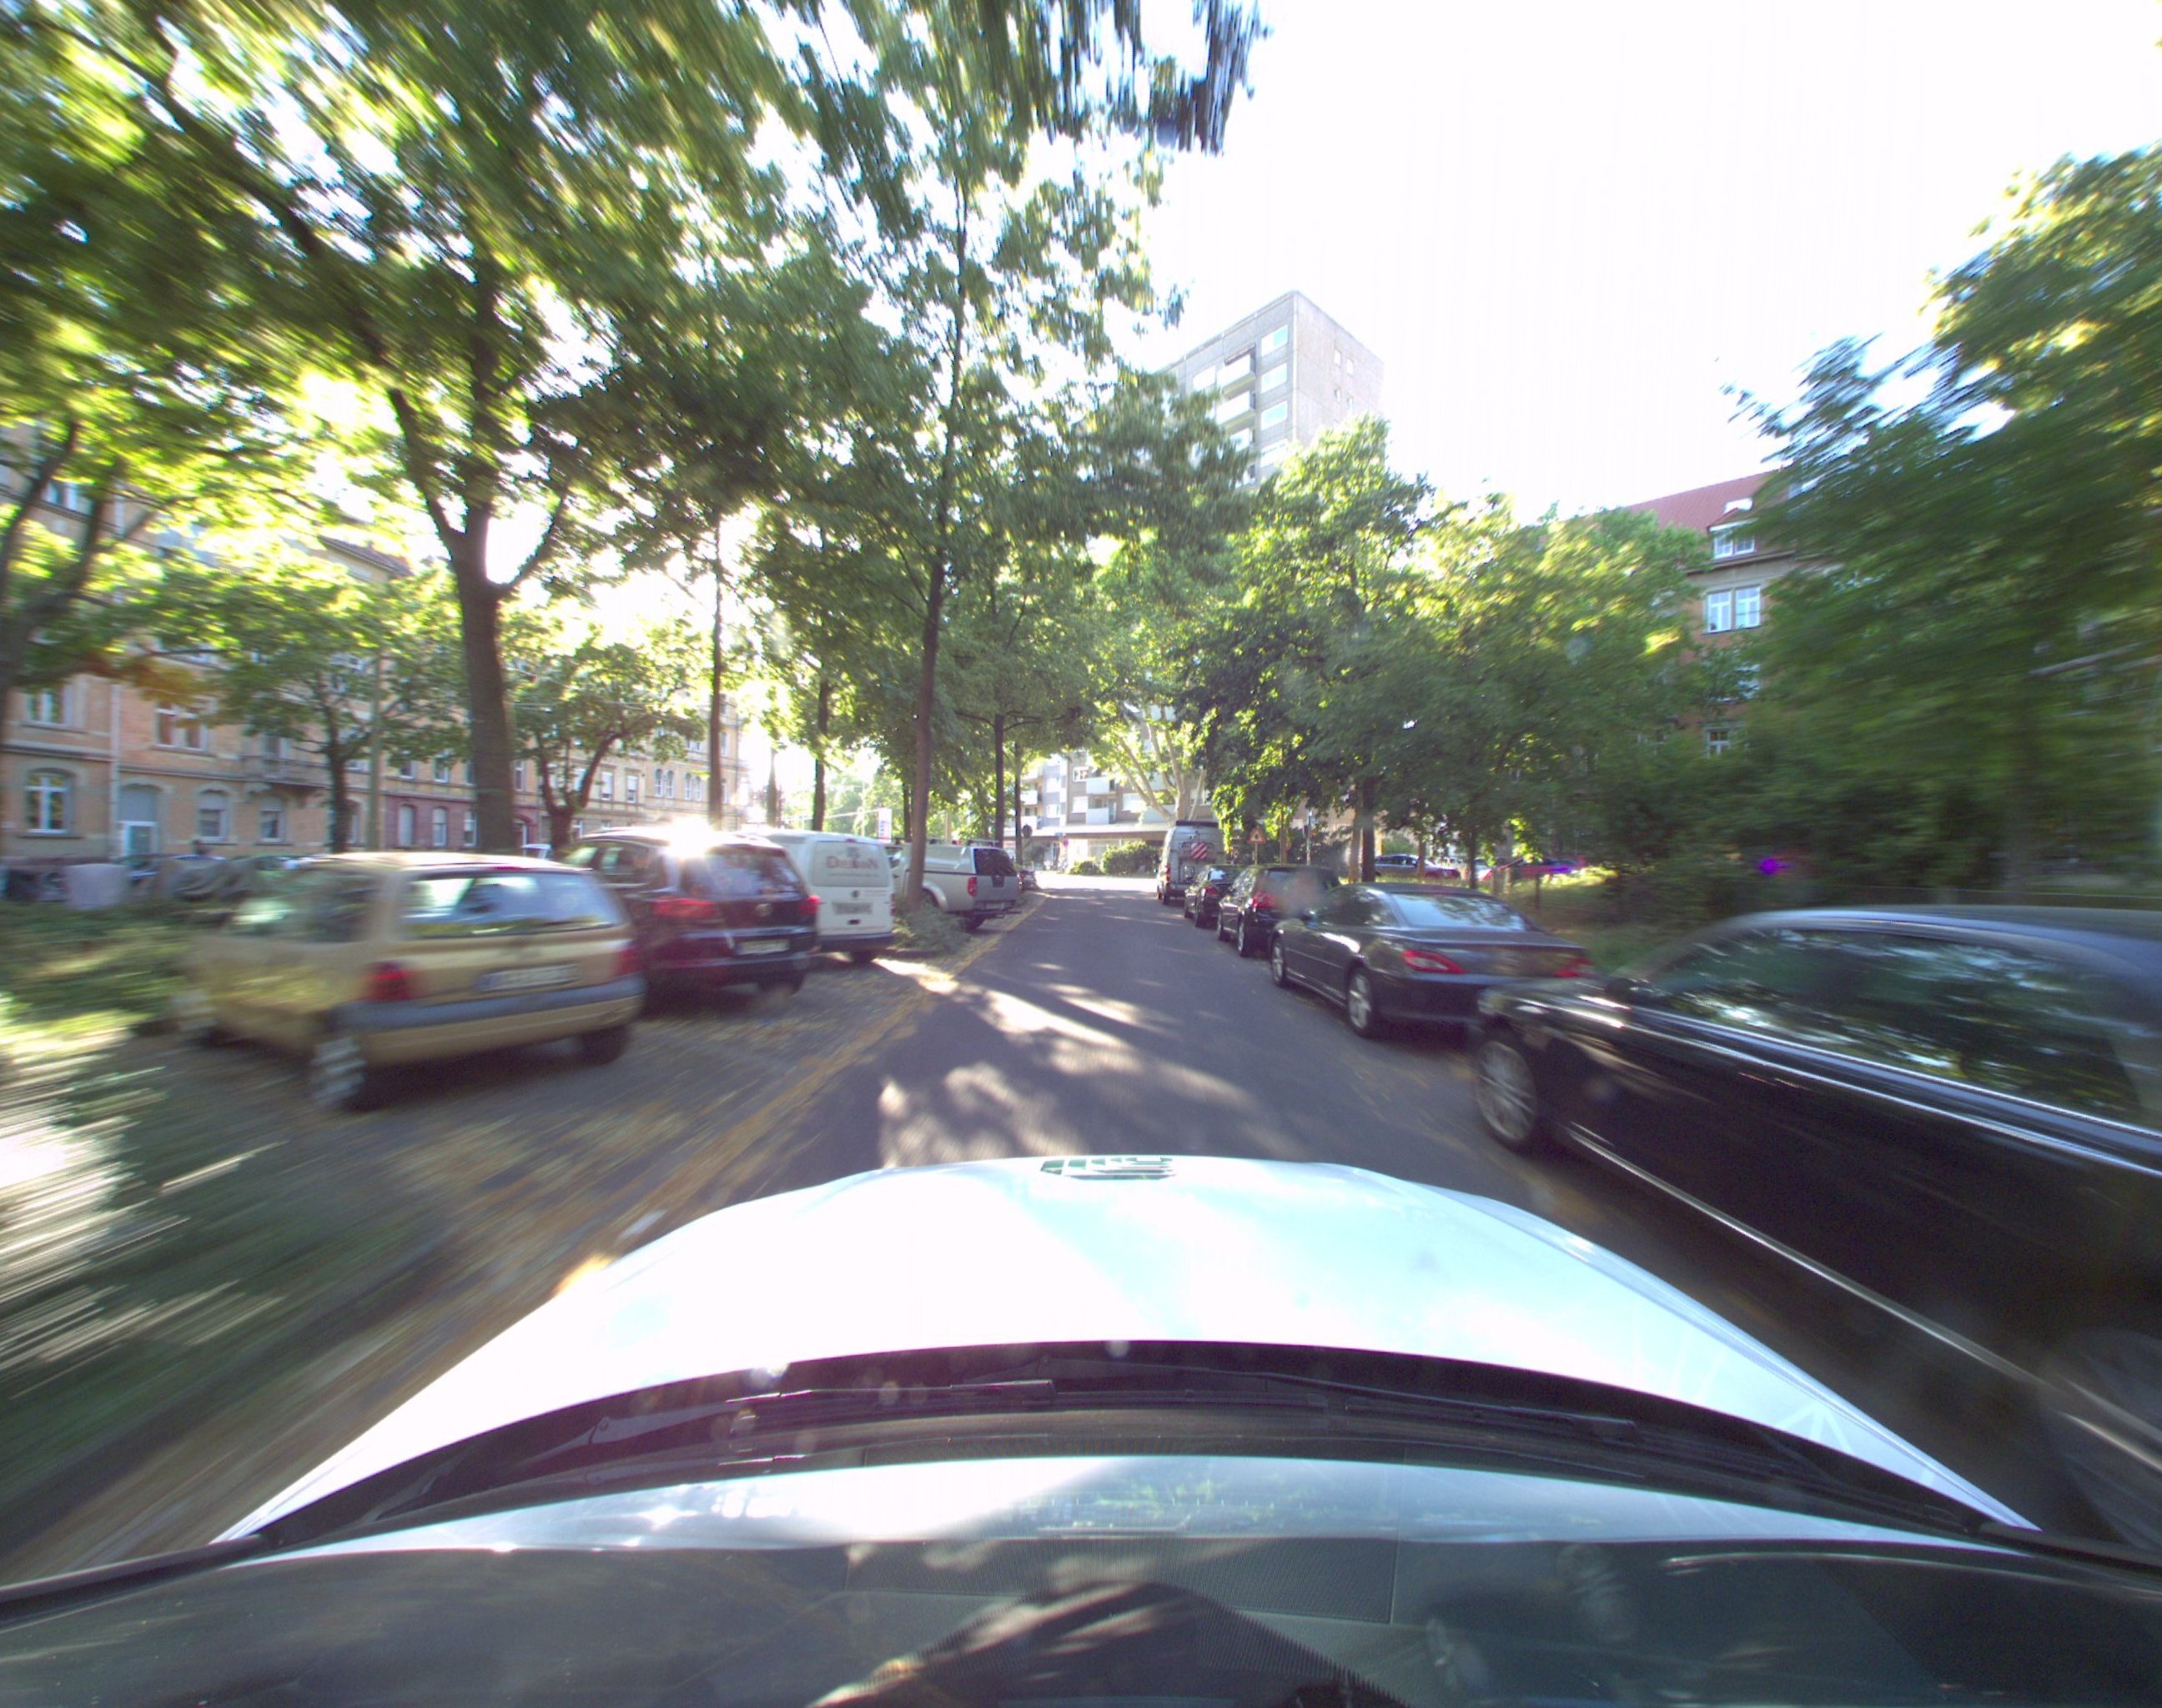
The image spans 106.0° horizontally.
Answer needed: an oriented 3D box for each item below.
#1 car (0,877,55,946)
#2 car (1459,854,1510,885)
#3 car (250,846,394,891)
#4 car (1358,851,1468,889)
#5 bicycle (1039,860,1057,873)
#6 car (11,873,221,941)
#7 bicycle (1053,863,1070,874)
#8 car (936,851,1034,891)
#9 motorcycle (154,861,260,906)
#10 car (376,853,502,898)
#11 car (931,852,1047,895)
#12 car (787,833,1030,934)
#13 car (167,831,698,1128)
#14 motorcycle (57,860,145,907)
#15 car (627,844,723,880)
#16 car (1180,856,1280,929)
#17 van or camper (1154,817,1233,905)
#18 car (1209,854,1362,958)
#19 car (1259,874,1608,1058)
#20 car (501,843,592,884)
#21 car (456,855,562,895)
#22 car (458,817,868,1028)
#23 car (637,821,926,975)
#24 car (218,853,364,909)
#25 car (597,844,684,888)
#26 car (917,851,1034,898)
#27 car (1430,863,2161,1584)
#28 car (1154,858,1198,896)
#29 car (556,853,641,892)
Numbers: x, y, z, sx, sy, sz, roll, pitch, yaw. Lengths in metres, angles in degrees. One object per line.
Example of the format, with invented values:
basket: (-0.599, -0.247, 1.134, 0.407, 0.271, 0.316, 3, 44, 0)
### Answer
car: (-29.067, 1.548, 20.344, 1.789, 1.775, 3.997, -2, 0, -2)
car: (21.772, 0.780, 43.822, 1.712, 1.473, 4.026, 0, 1, 37)
car: (-29.503, 0.517, 31.855, 1.846, 1.518, 4.057, 3, 1, -2)
car: (15.003, 0.710, 36.938, 1.752, 1.552, 4.224, 5, -4, -44)
bicycle: (-2.744, 1.046, 67.232, 0.642, 1.022, 2.070, 0, 0, -27)
car: (-29.743, 1.559, 25.321, 1.789, 1.775, 3.997, -2, 0, -2)
bicycle: (-1.584, 1.167, 65.632, 0.546, 0.904, 1.717, 0, 0, -34)
car: (-4.223, 0.722, 35.761, 3.837, 1.494, 1.842, 3, 0, 27)
motorcycle: (-19.704, 0.642, 18.369, 1.707, 0.955, 1.025, 0, 0, 20)
car: (-21.182, 0.675, 26.867, 3.693, 1.381, 1.737, 0, 0, 25)
car: (-3.678, 0.773, 32.570, 4.149, 1.439, 1.842, 3, 0, 25)
car: (-3.802, 0.567, 17.735, 4.940, 1.781, 1.999, 3, 0, 28)
car: (-4.683, 0.649, 5.853, 3.384, 1.425, 1.845, 3, 0, 31)
motorcycle: (-20.017, 0.572, 16.630, 1.952, 0.889, 1.027, 0, 0, 36)
car: (-21.307, 0.403, 42.742, 4.775, 1.764, 2.097, 0, 0, 27)
car: (3.435, 0.815, 19.550, 1.674, 1.526, 4.490, 1, 0, 1)
van or camper: (3.801, 0.221, 28.524, 2.076, 2.762, 5.846, 1, 0, 1)
car: (3.363, 0.779, 14.203, 1.674, 1.526, 4.288, 1, 0, 1)
car: (3.147, 0.906, 8.317, 1.675, 1.283, 4.286, 1, 0, -1)
car: (-29.960, 0.468, 45.849, 1.847, 2.063, 4.997, 3, 1, -2)
car: (-21.300, 0.742, 30.274, 4.234, 1.381, 1.604, 0, 0, 31)
car: (-4.473, 0.542, 8.590, 4.108, 1.644, 1.927, 3, 0, 32)
car: (-4.422, 0.511, 11.812, 4.107, 1.781, 1.895, 3, 0, 36)
car: (-20.883, 0.658, 21.522, 3.691, 1.381, 1.718, 0, 0, 28)
car: (-21.508, 0.559, 39.732, 3.949, 2.013, 2.013, 0, 0, 31)
car: (-3.890, 0.744, 30.036, 3.825, 1.439, 1.842, 3, 0, 25)
car: (3.056, 0.778, 2.927, 1.674, 1.424, 4.659, 1, 0, 1)
car: (4.068, 0.959, 35.474, 1.673, 1.446, 3.876, 3, 0, 4)
car: (-21.601, 0.799, 36.448, 3.604, 1.640, 1.671, 0, 0, 29)
